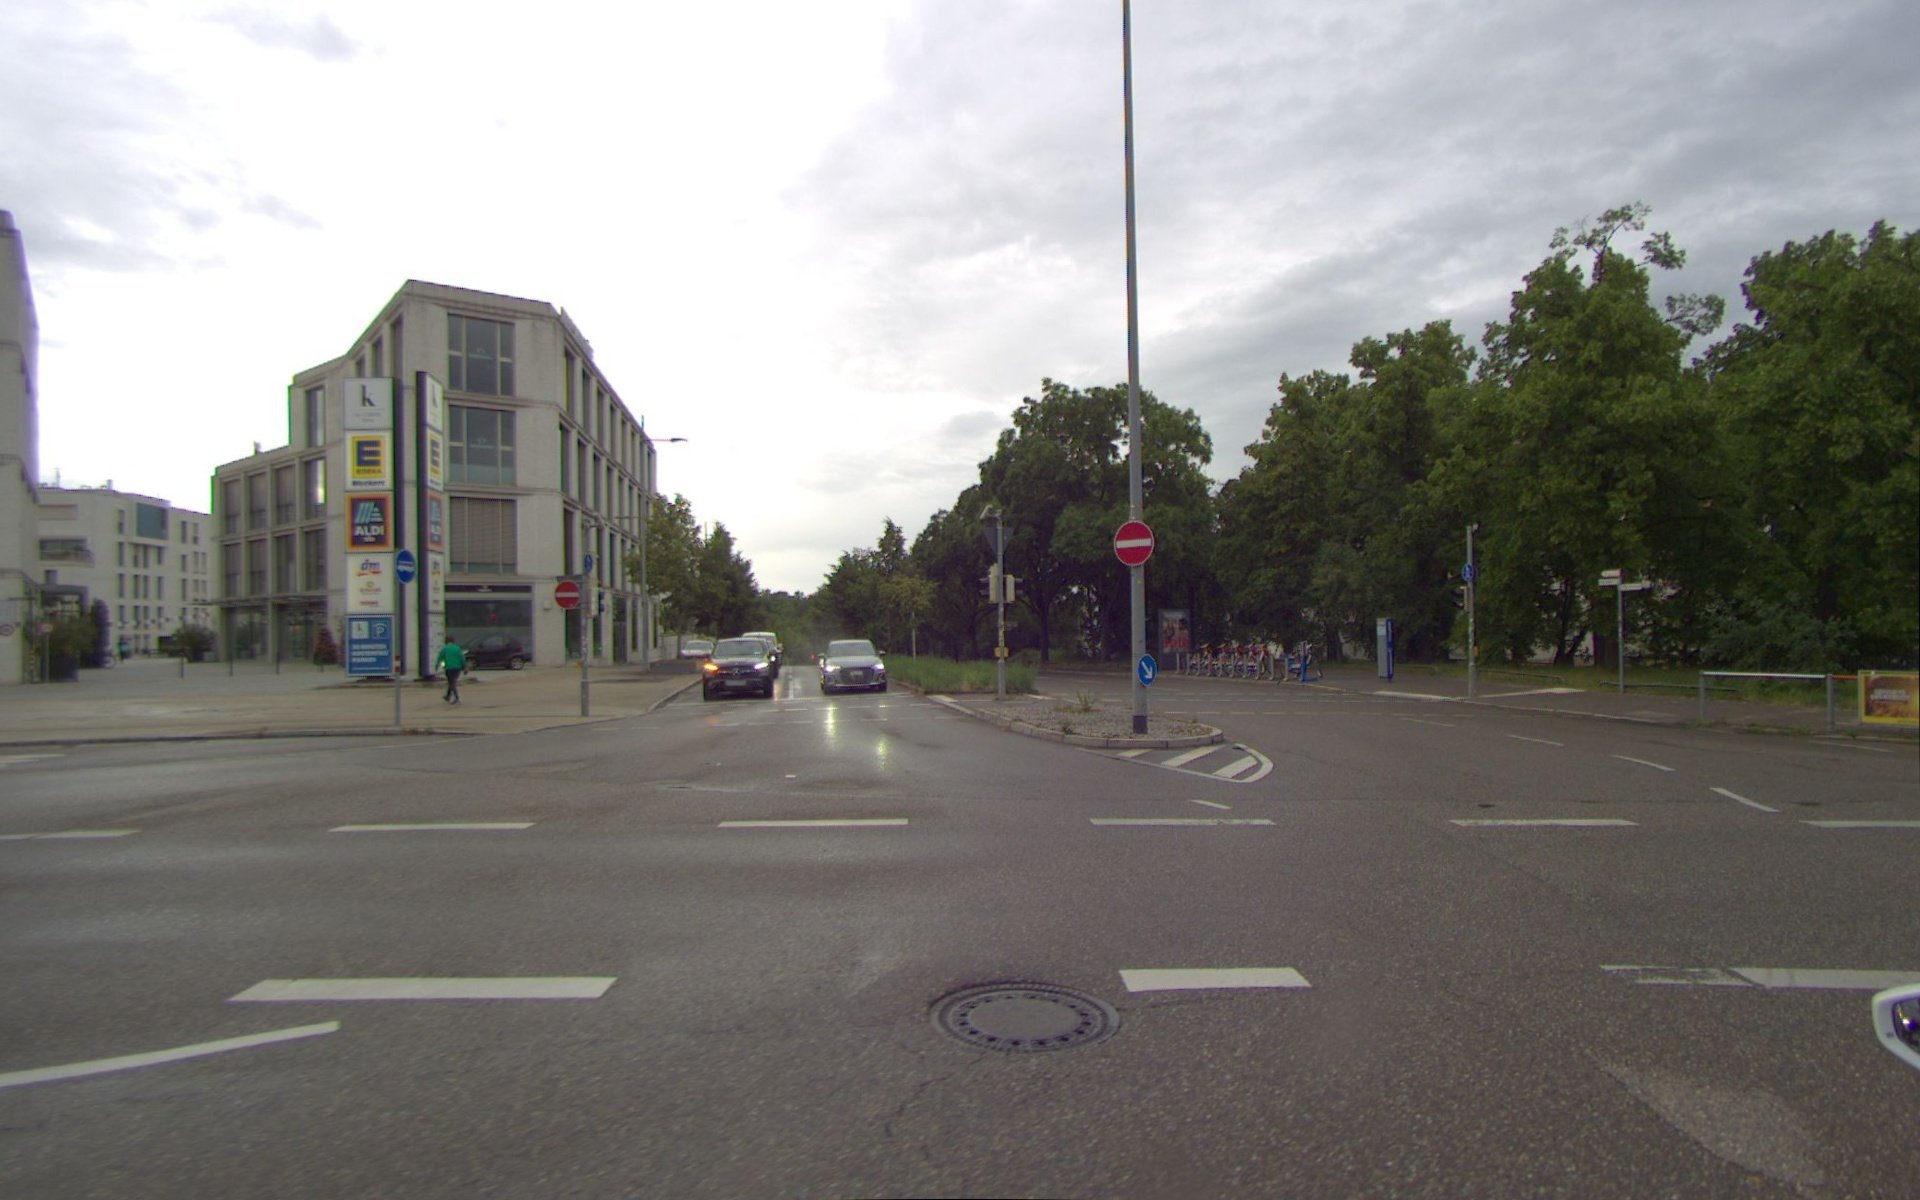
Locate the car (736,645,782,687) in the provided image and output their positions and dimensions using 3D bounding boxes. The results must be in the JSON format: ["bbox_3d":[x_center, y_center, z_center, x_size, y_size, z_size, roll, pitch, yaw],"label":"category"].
[{"bbox_3d":[-7.957,2.577,40.014,1.689,1.479,3.743,-1,-1,-10],"label":"car"}]

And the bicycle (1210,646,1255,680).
[{"bbox_3d":[9.915,2.293,36.570,1.466,1.146,0.555,-3,-2,-17],"label":"bicycle"}]

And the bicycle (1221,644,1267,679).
[{"bbox_3d":[10.110,2.199,35.784,1.466,1.146,0.555,-3,-2,-17],"label":"bicycle"}]

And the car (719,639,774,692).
[{"bbox_3d":[-7.421,2.238,35.132,1.625,1.597,3.696,-2,-1,-9],"label":"car"}]

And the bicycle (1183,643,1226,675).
[{"bbox_3d":[9.397,2.261,38.587,1.466,1.146,0.555,-3,-2,-17],"label":"bicycle"}]

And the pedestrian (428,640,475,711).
[{"bbox_3d":[-12.455,1.827,24.607,0.668,1.708,0.752,-1,-2,20],"label":"pedestrian"}]

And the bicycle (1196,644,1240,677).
[{"bbox_3d":[9.665,2.269,37.651,1.466,1.146,0.555,-3,-2,-17],"label":"bicycle"}]

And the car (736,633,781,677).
[{"bbox_3d":[-9.088,2.446,45.594,1.816,1.826,4.765,1,-2,-9],"label":"car"}]

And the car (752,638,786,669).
[{"bbox_3d":[-11.131,3.091,58.655,1.802,1.622,4.667,-1,-1,-10],"label":"car"}]

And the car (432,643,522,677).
[{"bbox_3d":[-20.710,2.535,43.128,3.265,1.394,1.552,2,-2,-36],"label":"car"}]

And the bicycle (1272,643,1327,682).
[{"bbox_3d":[10.959,2.014,32.416,1.575,1.146,0.555,-3,-2,-17],"label":"bicycle"}]

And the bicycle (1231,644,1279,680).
[{"bbox_3d":[10.284,2.151,34.993,1.466,1.146,0.555,-3,-2,-17],"label":"bicycle"}]

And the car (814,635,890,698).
[{"bbox_3d":[-3.206,1.876,29.232,1.822,1.596,4.156,1,-1,-11],"label":"car"}]

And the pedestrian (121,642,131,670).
[{"bbox_3d":[-56.001,3.745,67.428,0.457,1.869,0.482,1,-2,-35],"label":"pedestrian"}]

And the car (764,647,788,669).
[{"bbox_3d":[-13.652,4.264,74.553,1.670,1.602,4.011,0,-3,-10],"label":"car"}]

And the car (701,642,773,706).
[{"bbox_3d":[-6.277,2.038,28.537,1.799,1.539,4.056,-2,-1,-11],"label":"car"}]
